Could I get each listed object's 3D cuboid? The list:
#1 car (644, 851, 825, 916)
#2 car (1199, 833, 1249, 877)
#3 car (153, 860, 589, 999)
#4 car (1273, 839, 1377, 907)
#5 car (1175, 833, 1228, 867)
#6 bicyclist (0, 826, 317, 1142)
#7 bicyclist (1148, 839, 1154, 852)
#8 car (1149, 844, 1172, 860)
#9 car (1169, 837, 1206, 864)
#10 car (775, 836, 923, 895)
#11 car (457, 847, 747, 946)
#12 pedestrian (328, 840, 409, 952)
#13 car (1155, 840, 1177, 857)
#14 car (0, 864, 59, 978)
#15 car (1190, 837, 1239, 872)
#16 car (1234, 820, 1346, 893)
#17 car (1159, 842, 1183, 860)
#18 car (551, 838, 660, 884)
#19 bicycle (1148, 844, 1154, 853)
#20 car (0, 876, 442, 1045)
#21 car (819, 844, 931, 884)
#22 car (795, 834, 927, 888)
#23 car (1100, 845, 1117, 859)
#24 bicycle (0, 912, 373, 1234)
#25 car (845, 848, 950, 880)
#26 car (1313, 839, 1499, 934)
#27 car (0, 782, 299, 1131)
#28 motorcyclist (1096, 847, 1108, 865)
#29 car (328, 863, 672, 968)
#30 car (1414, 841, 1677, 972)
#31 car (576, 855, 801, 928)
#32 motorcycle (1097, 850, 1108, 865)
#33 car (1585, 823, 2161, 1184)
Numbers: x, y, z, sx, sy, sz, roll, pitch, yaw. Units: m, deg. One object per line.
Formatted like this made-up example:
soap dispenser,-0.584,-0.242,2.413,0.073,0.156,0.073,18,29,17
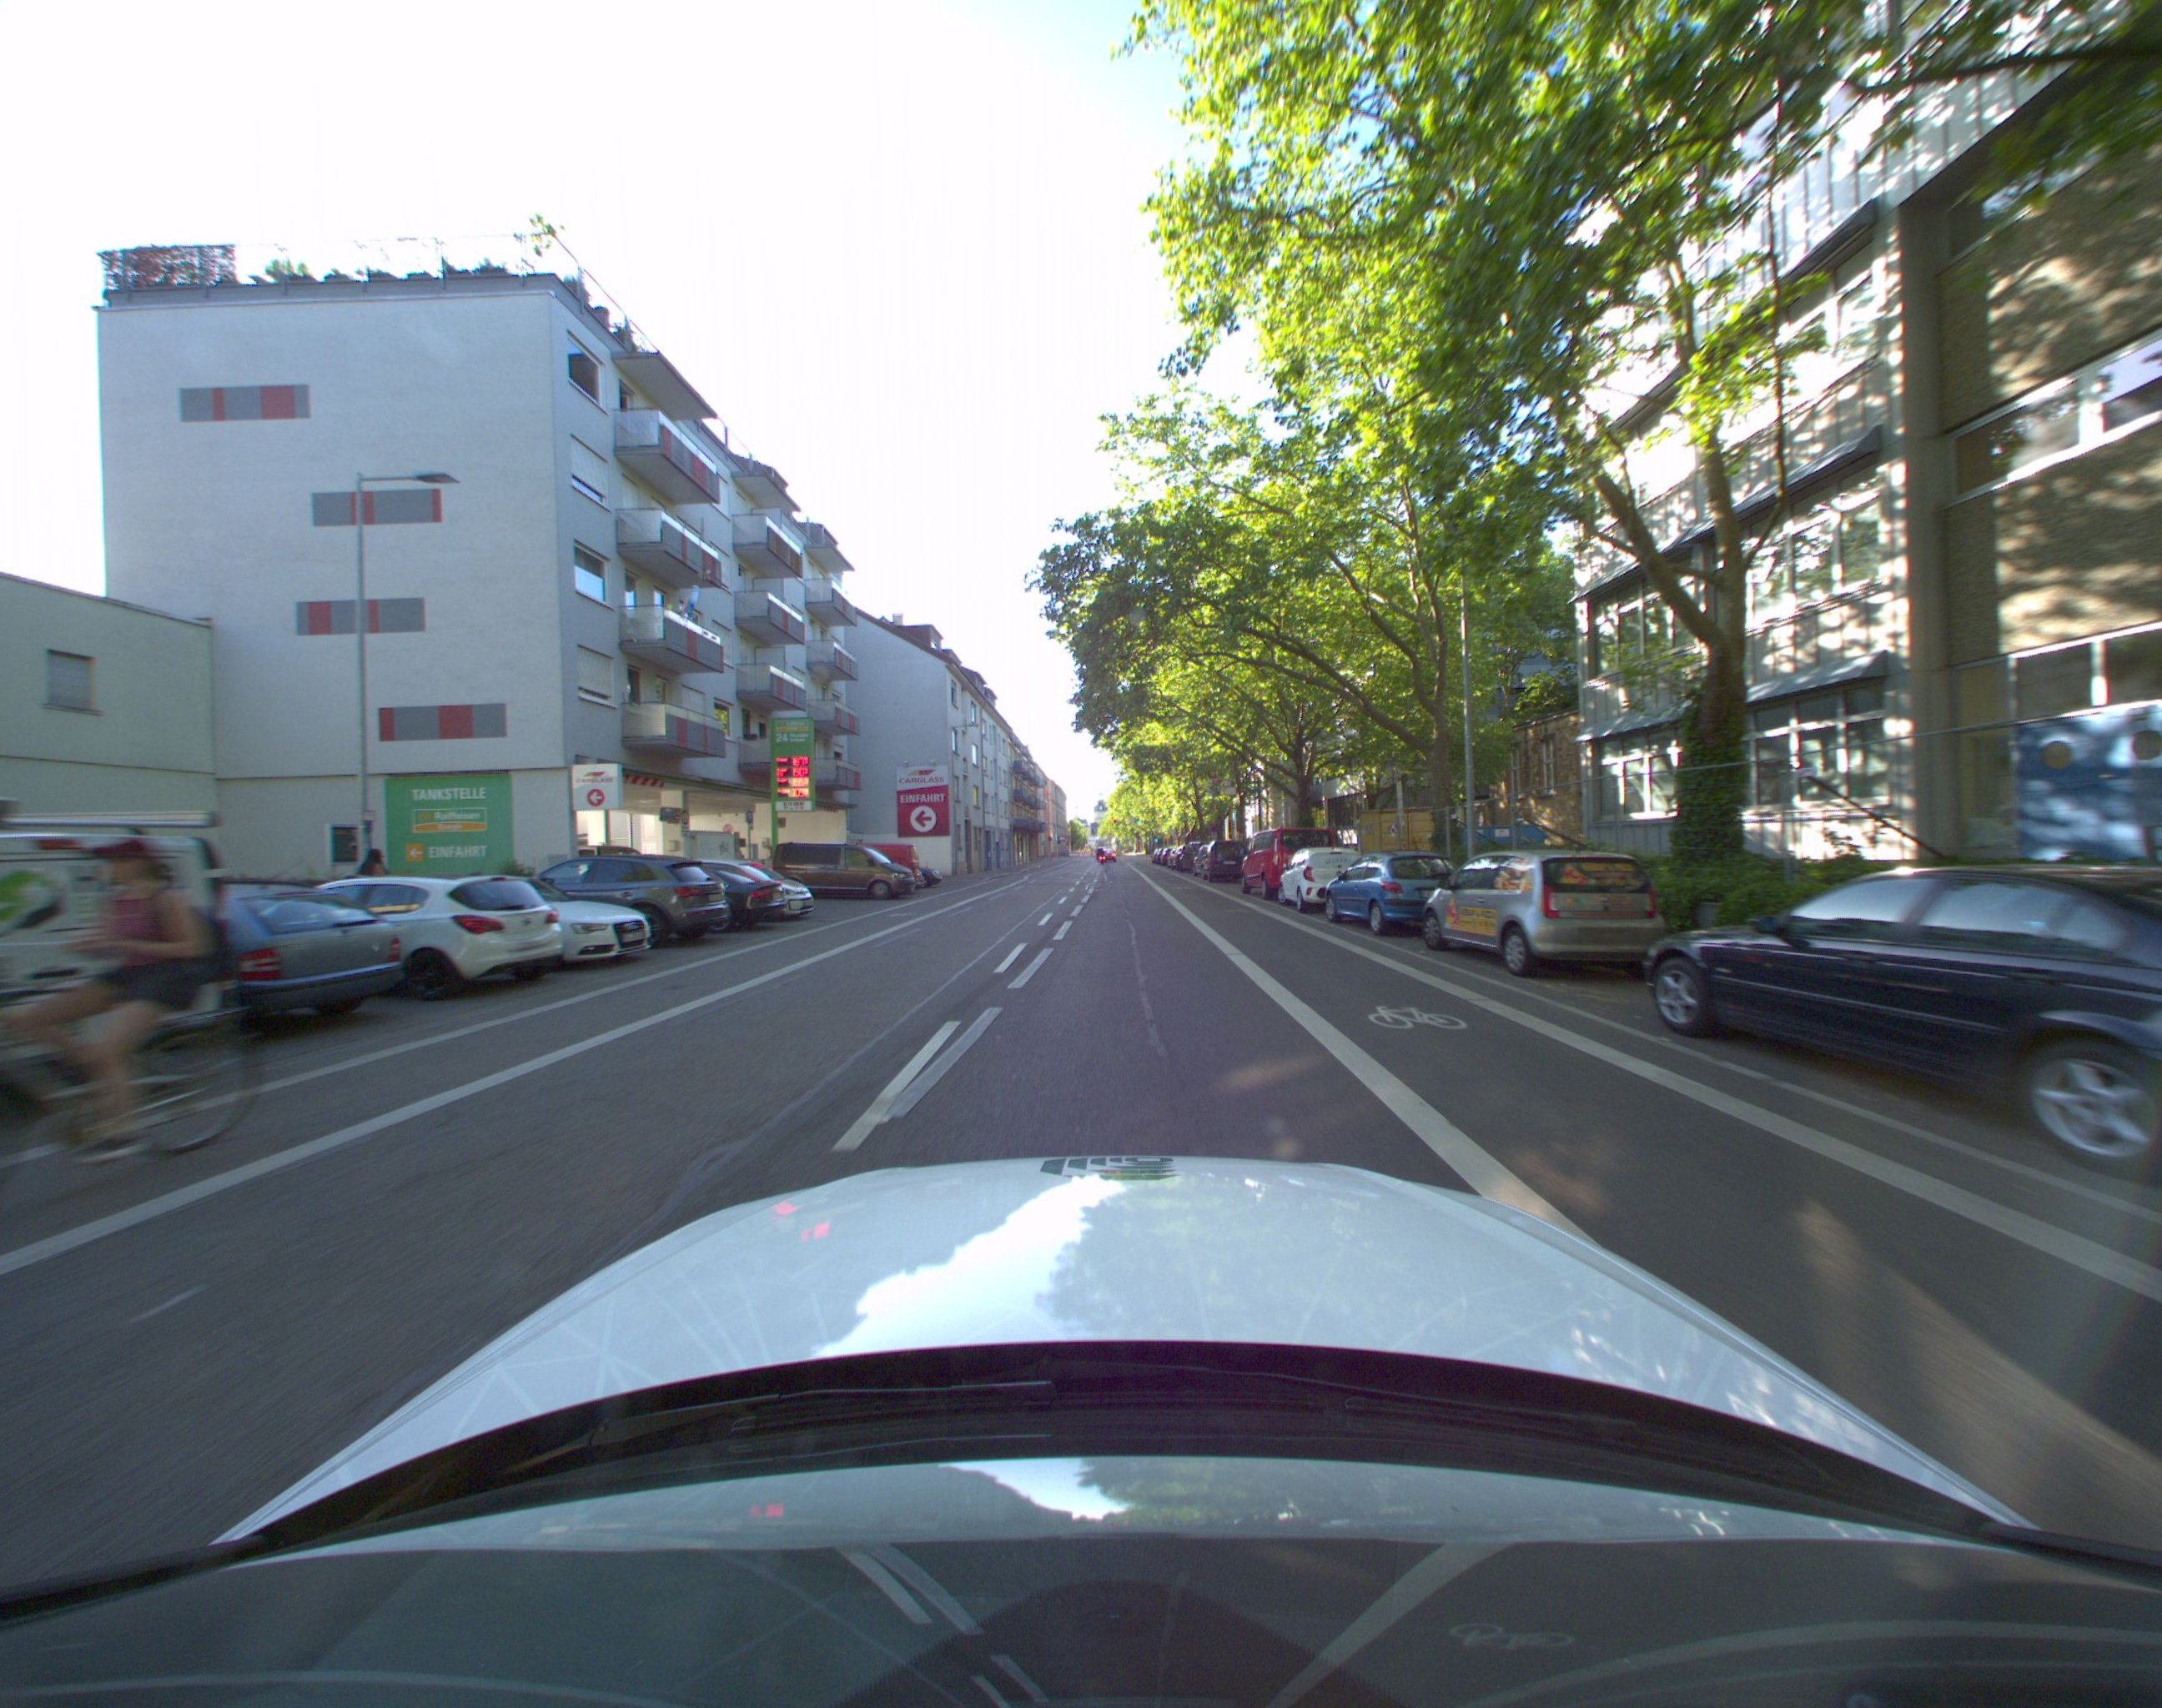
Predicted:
car,-8.531,0.691,20.276,3.672,1.513,1.831,0,0,1
car,6.264,0.037,35.936,1.686,1.812,4.133,0,0,3
car,-8.922,0.898,10.509,3.972,1.559,1.854,-1,1,1
car,5.825,0.396,19.851,1.631,1.485,3.763,0,1,3
car,6.930,-0.251,47.266,1.823,1.841,4.888,0,0,-6
bicyclist,-5.062,0.641,4.534,0.604,1.544,0.934,-4,1,2
bicyclist,8.691,-1.051,101.079,0.654,1.530,0.906,0,0,1
car,7.501,-0.237,77.388,1.688,1.449,4.435,0,1,0
car,6.802,-0.253,52.416,1.770,1.627,4.620,0,0,0
car,-7.982,0.370,28.321,4.505,1.951,2.058,1,1,1
car,-8.781,0.739,15.223,4.179,1.684,2.029,-1,0,1
pedestrian,-11.757,0.674,13.460,0.629,1.789,0.722,-2,1,1
car,7.542,-0.492,72.635,1.686,1.466,4.068,0,0,3
car,-14.942,0.890,9.159,1.783,1.464,4.002,0,1,2
car,6.584,0.005,40.473,1.688,1.627,4.329,0,0,0
car,6.136,0.045,24.641,2.071,1.994,5.171,0,0,0
car,7.394,-0.272,67.312,1.686,1.479,4.320,0,0,2
car,-19.760,0.281,34.090,1.714,1.747,4.587,-2,0,2
bicycle,8.694,-0.710,101.055,0.654,1.111,2.186,0,0,1
car,-9.227,0.992,8.273,3.972,1.433,1.854,-1,1,1
car,-8.586,0.394,34.244,4.157,1.563,1.887,1,0,1
car,-8.347,0.241,31.165,4.404,1.951,2.147,1,1,1
car,2.951,-0.208,87.554,1.822,1.420,3.816,-1,0,1
bicycle,-5.040,1.044,4.340,0.604,1.239,2.050,-4,1,2
car,-8.160,0.446,36.541,4.213,1.380,2.047,0,0,1
car,5.805,0.492,15.108,1.850,1.510,3.928,1,1,-1
car,-9.258,0.644,6.051,4.827,2.216,2.141,0,0,1
motorcyclist,1.977,0.159,75.928,1.008,1.602,1.406,-2,0,1
car,-8.826,0.901,12.635,3.972,1.433,1.854,-1,1,1
car,5.983,0.571,10.981,1.608,1.475,3.493,0,1,1
car,-8.516,0.785,17.923,3.972,1.455,1.917,-1,0,1
motorcycle,1.987,0.328,75.876,1.008,1.306,2.673,-2,0,1
car,5.525,0.606,5.202,1.848,1.522,4.600,0,1,1
